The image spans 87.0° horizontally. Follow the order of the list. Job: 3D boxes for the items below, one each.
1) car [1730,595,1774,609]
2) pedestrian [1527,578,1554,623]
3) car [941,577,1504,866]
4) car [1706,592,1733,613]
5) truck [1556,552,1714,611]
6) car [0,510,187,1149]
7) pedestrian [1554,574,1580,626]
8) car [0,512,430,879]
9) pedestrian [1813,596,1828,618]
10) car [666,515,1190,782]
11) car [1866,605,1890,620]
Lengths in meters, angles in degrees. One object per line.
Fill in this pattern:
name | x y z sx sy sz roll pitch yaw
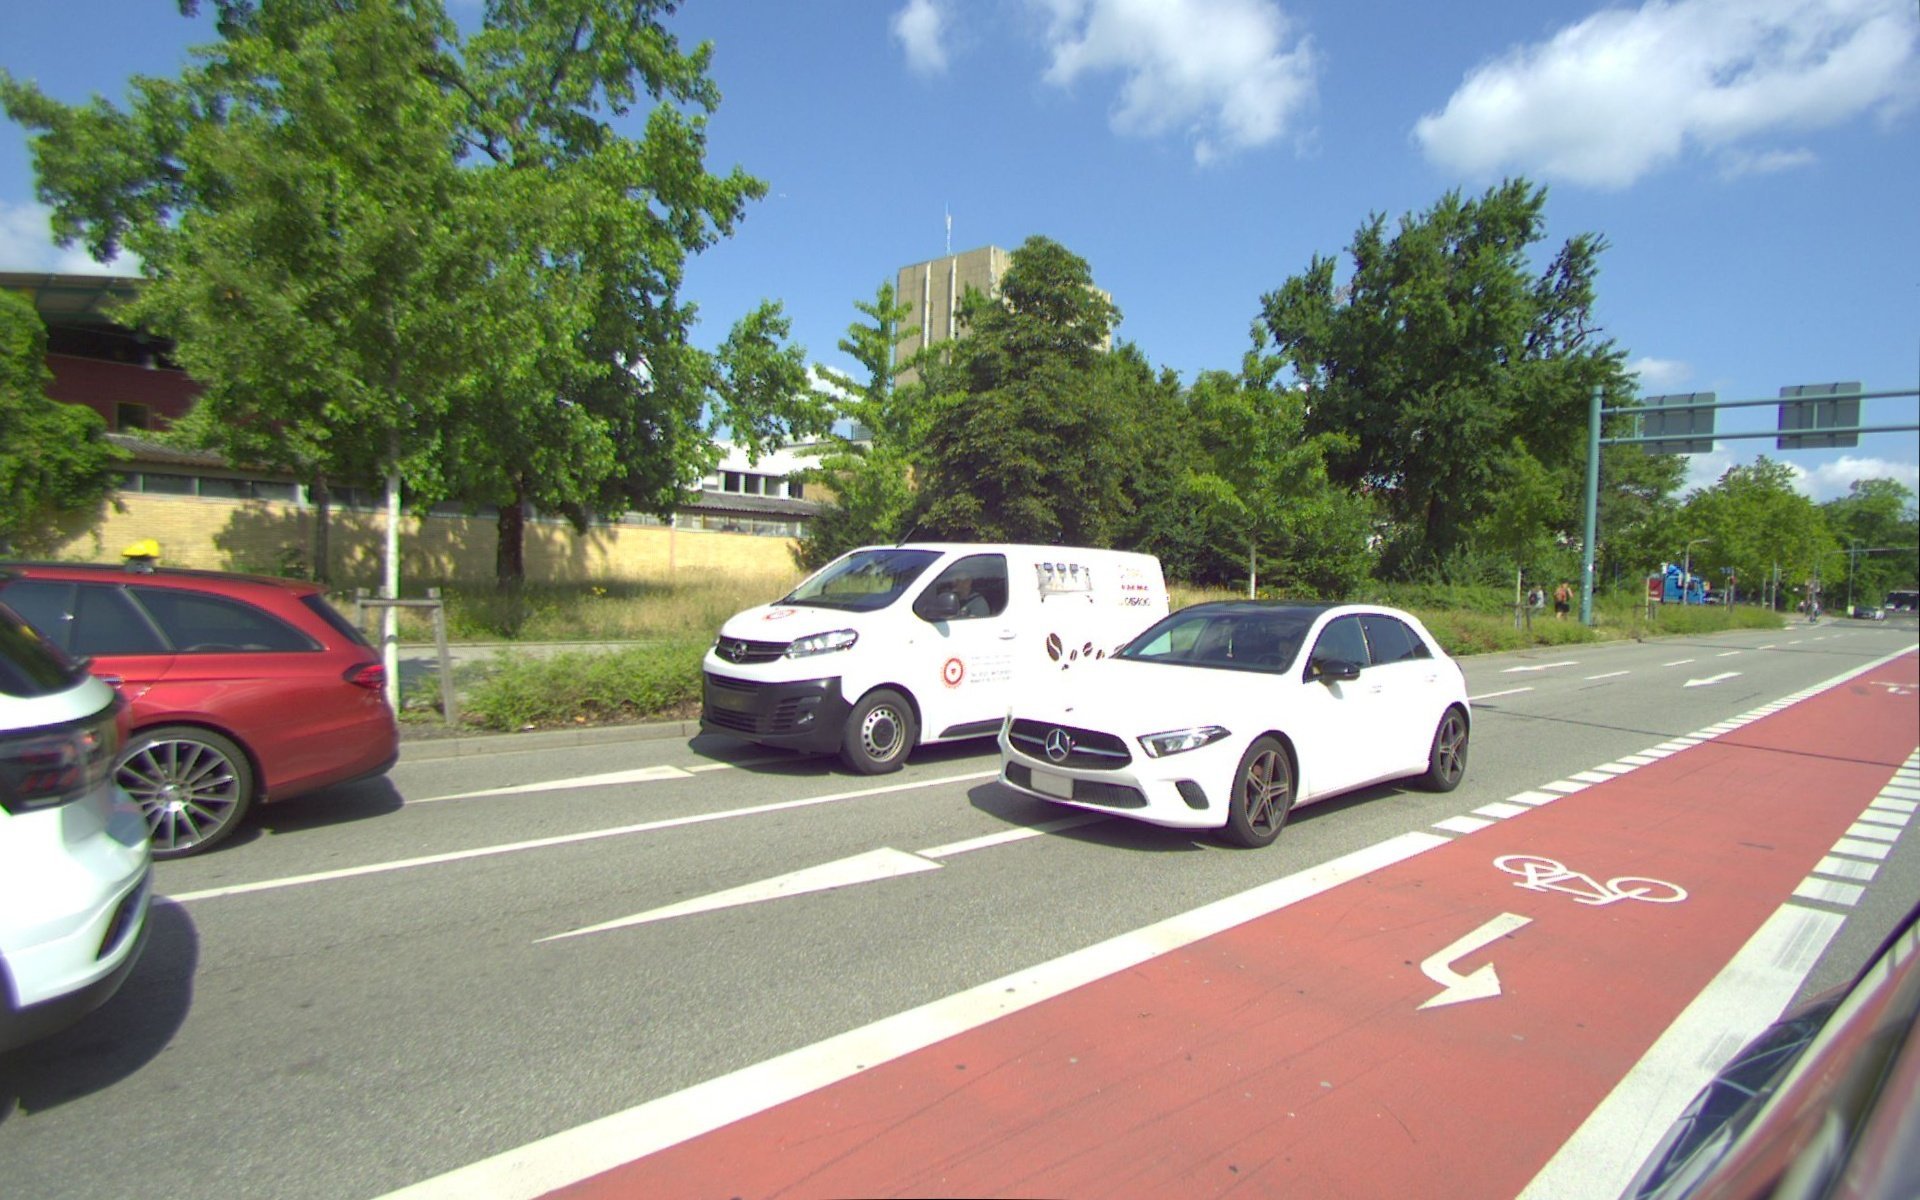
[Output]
car | 94.593 0.231 120.886 3.977 1.442 1.735 3 2 36
pedestrian | 21.156 0.019 36.889 0.696 1.600 0.624 1 2 -43
car | 2.120 0.631 7.408 4.309 1.441 1.907 1 2 -42
car | 78.714 0.228 104.853 1.992 2.038 4.831 3 2 40
truck | 48.163 -1.362 72.564 9.129 3.846 2.634 3 2 34
car | -4.125 0.537 2.045 3.942 1.559 1.793 0 1 -42
pedestrian | 21.812 -0.011 36.376 0.628 1.824 0.568 1 1 -43
car | -5.214 0.401 4.918 4.387 1.661 1.683 0 2 -43
pedestrian | 68.337 0.541 80.361 0.627 1.670 0.742 1 1 -37
car | -0.080 0.319 9.487 4.742 1.893 1.946 1 2 -42
car | 96.729 1.281 106.656 1.703 1.345 3.941 6 4 41
